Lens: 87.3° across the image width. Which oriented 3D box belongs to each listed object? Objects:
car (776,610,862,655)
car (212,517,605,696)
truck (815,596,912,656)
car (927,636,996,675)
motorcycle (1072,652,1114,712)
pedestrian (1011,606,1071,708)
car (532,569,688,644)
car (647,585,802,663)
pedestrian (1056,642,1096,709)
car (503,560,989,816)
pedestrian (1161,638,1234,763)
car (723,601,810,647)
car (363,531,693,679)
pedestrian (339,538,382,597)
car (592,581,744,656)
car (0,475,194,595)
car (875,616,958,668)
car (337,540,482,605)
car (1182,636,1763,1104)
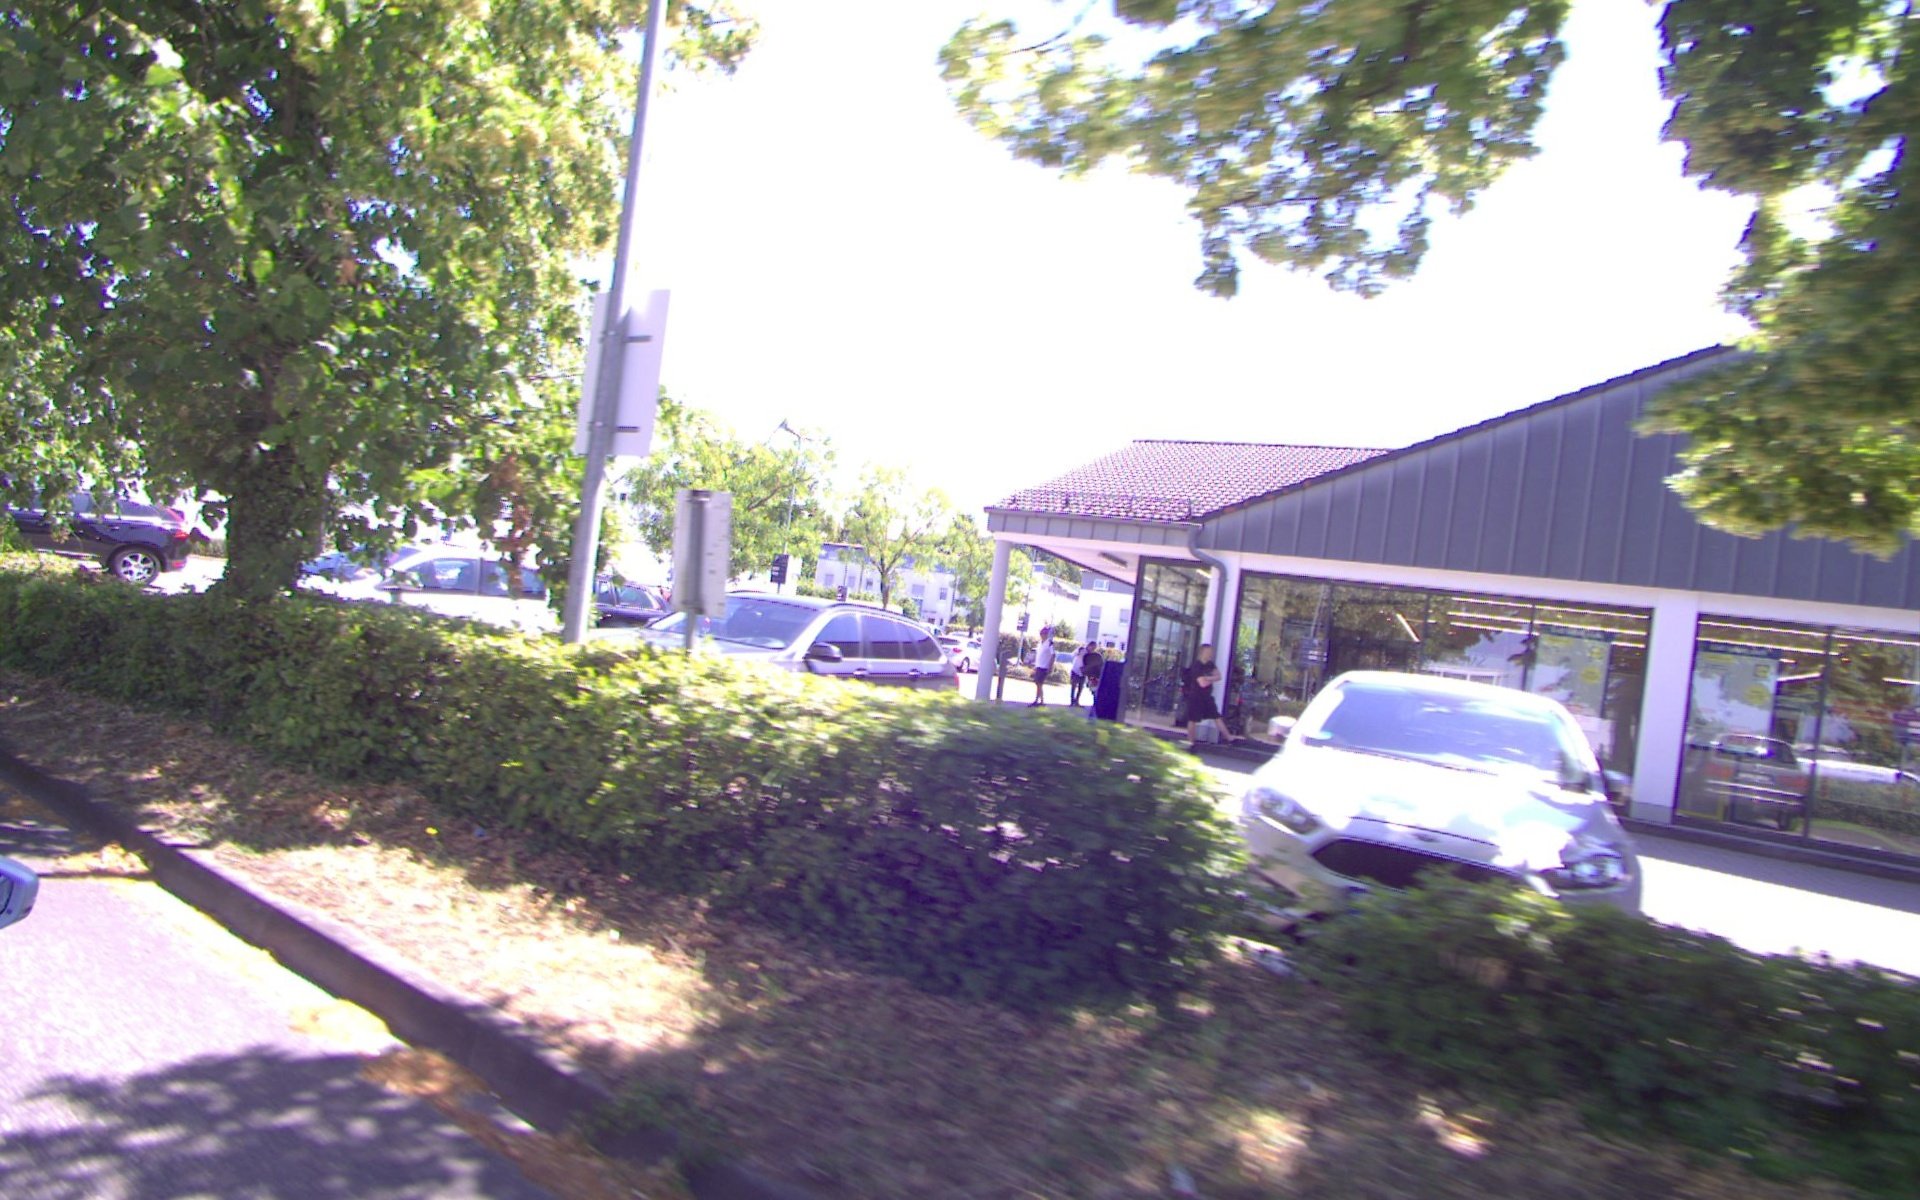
[{"bbox_3d":[-6.360,1.515,45.601,1.721,1.578,3.759,7,-2,32],"label":"car"},{"bbox_3d":[-5.880,0.175,11.138,1.554,1.524,3.408,8,-1,26],"label":"car"},{"bbox_3d":[-5.056,1.444,53.860,2.142,2.484,5.484,7,-3,30],"label":"truck"},{"bbox_3d":[0.110,2.353,42.299,1.403,1.337,3.427,7,-2,26],"label":"car"},{"bbox_3d":[3.296,2.035,24.809,0.382,1.386,1.477,7,-2,28],"label":"motorcycle"},{"bbox_3d":[1.719,1.224,21.304,0.789,2.037,0.784,7,-1,28],"label":"pedestrian"},{"bbox_3d":[-9.678,0.235,28.062,1.787,1.520,3.734,7,-3,29],"label":"car"},{"bbox_3d":[-5.769,0.633,25.037,1.643,1.432,3.608,7,-3,29],"label":"car"},{"bbox_3d":[2.894,1.892,25.053,0.549,1.570,0.803,7,-1,27],"label":"pedestrian"},{"bbox_3d":[-1.510,0.752,8.870,1.777,1.498,4.324,8,-2,26],"label":"car"},{"bbox_3d":[3.653,1.526,15.432,0.770,1.774,0.700,7,-1,24],"label":"pedestrian"},{"bbox_3d":[-9.003,1.137,47.078,1.625,1.668,3.869,7,-2,33],"label":"car"},{"bbox_3d":[-6.470,0.123,15.385,4.250,1.520,1.736,10,-2,-25],"label":"car"},{"bbox_3d":[-17.706,-0.954,29.710,0.695,1.610,0.679,7,-1,30],"label":"pedestrian"},{"bbox_3d":[-7.710,0.531,26.903,1.716,1.474,3.608,7,-3,29],"label":"car"},{"bbox_3d":[-16.475,-1.271,17.513,1.863,1.686,4.523,7,-2,33],"label":"car"},{"bbox_3d":[-1.856,1.866,43.883,1.745,1.811,4.000,7,-2,26],"label":"car"},{"bbox_3d":[-18.470,-0.879,33.972,1.622,1.548,4.003,7,-3,23],"label":"car"},{"bbox_3d":[2.832,1.187,5.930,1.919,1.427,4.244,8,-2,26],"label":"car"}]
